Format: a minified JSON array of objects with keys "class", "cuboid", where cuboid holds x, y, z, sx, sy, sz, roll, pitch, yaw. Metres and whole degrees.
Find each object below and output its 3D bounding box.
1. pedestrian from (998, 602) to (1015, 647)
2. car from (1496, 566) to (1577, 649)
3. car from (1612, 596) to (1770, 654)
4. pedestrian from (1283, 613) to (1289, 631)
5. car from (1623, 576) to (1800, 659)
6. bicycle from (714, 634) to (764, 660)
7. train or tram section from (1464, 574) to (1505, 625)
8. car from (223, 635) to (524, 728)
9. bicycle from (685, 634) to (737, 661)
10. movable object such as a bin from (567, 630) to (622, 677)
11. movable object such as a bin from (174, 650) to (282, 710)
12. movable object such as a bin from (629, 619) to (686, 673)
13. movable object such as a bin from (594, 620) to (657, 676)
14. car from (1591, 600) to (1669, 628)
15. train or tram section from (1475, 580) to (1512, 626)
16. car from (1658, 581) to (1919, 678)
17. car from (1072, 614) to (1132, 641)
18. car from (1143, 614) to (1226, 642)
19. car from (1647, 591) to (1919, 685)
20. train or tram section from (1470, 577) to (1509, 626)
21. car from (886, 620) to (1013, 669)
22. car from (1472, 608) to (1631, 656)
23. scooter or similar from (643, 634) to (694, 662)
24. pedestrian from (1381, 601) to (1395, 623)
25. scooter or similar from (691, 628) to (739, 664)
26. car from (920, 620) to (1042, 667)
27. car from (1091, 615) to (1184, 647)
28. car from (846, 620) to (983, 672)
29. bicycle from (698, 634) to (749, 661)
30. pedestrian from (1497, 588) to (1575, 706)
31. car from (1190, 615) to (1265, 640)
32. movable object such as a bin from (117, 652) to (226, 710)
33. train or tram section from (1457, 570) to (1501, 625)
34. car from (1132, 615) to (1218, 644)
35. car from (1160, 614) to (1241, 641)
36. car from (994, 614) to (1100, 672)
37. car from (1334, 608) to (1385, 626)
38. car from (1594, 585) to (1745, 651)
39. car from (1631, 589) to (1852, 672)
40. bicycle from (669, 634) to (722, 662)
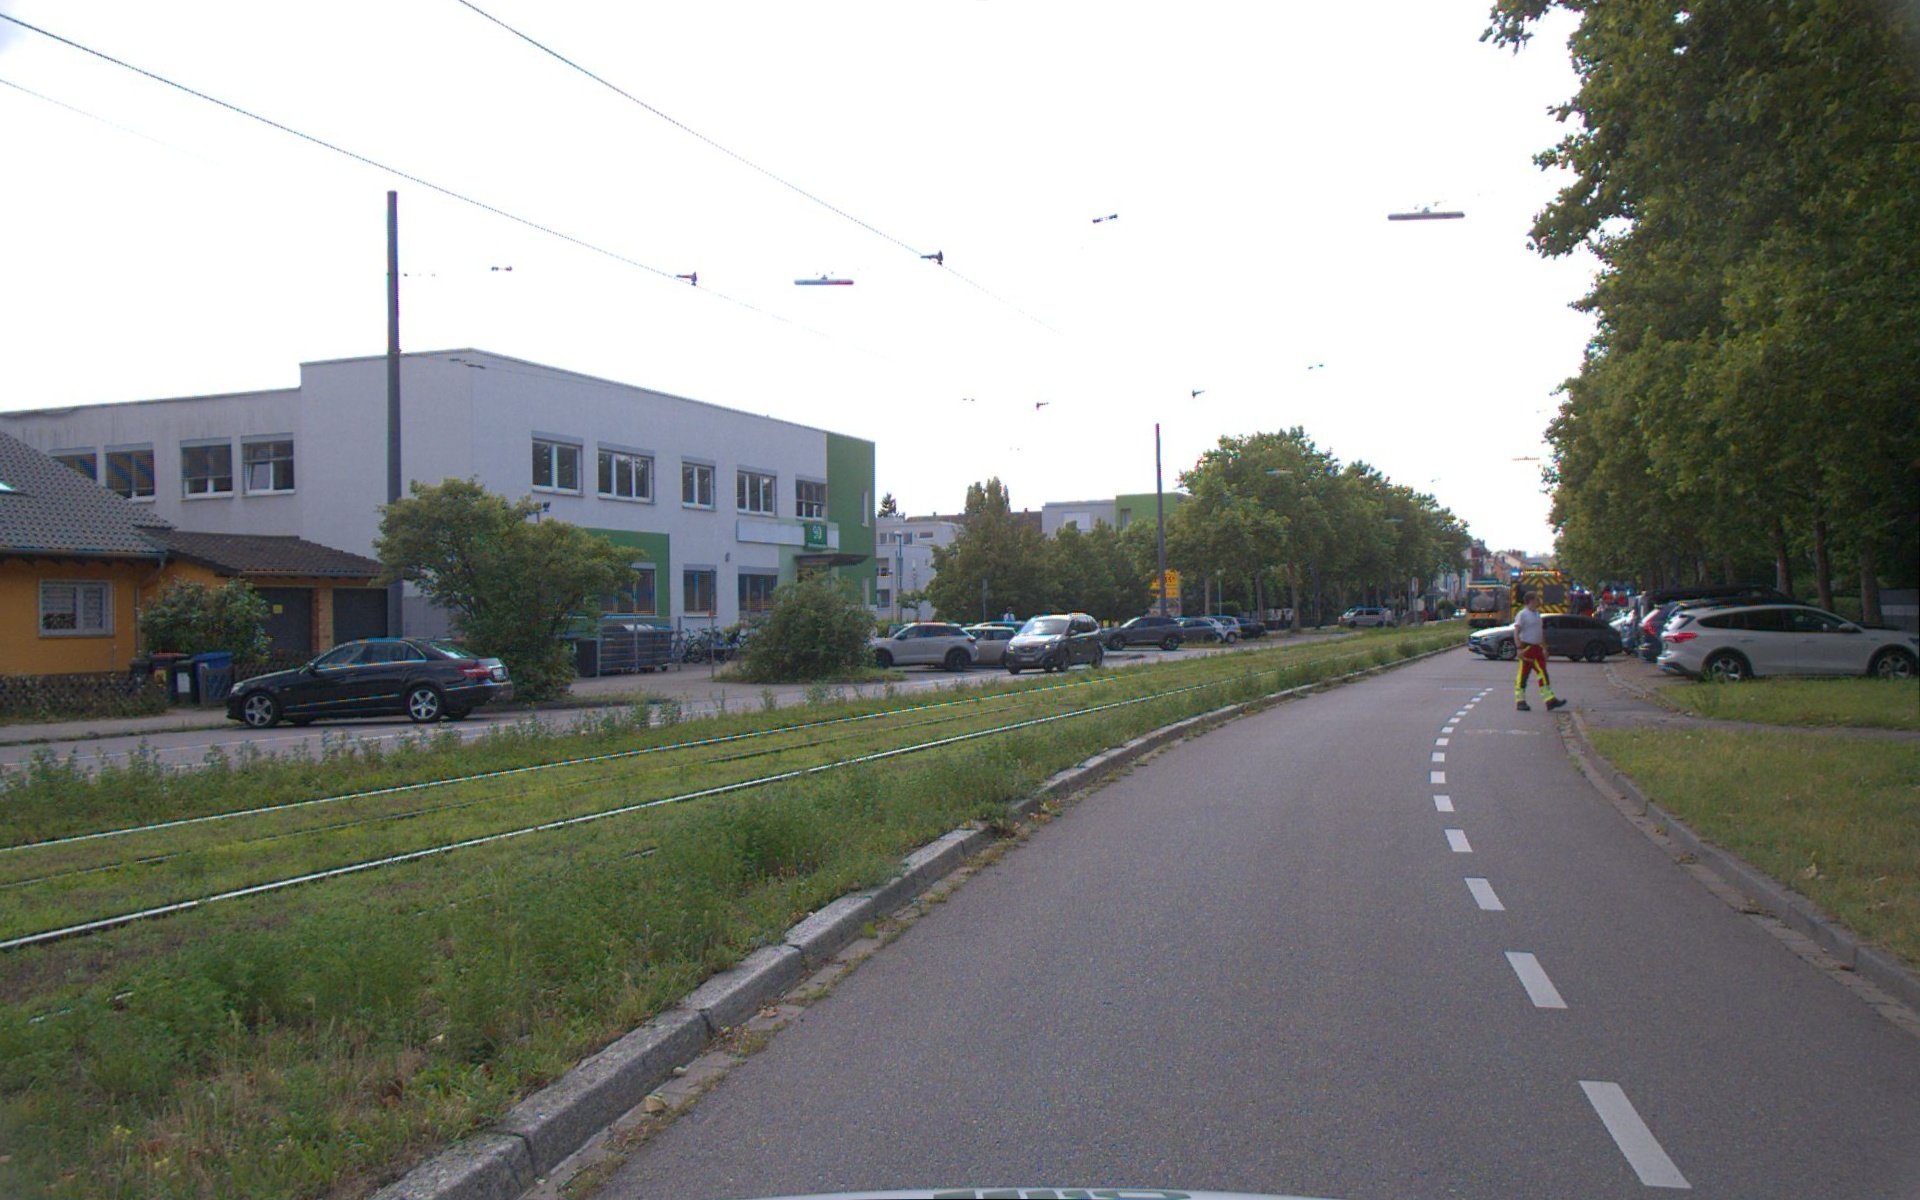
[{"class":"pedestrian","cuboid":[1.914,1.015,68.557,0.534,1.860,0.509,-2,-1,19]},{"class":"car","cuboid":[22.393,0.290,64.079,2.588,3.018,6.298,2,0,22]},{"class":"car","cuboid":[23.662,0.823,53.714,4.450,1.689,1.857,-2,-1,17]},{"class":"pedestrian","cuboid":[27.256,1.874,138.314,0.412,1.499,0.468,-2,-1,16]},{"class":"car","cuboid":[21.548,0.522,47.627,4.452,2.161,1.856,-3,-1,21]},{"class":"bicycle","cuboid":[-8.032,1.700,60.098,1.820,0.915,0.458,0,-1,22]},{"class":"train or tram section","cuboid":[39.947,0.020,125.890,2.460,3.647,7.445,-3,-2,20]},{"class":"car","cuboid":[-10.128,1.405,28.779,4.540,1.432,1.883,-2,-2,1]},{"class":"bicycle","cuboid":[-8.782,1.676,58.290,1.820,0.915,0.458,0,-1,22]},{"class":"movable object such as a bin","cuboid":[-10.333,1.499,46.809,0.985,1.255,1.256,0,1,23]},{"class":"movable object such as a bin","cuboid":[-14.862,1.616,33.618,1.228,1.120,1.618,-2,-1,20]},{"class":"movable object such as a bin","cuboid":[-9.098,1.361,49.798,0.985,1.546,1.604,0,1,23]},{"class":"movable object such as a bin","cuboid":[-9.742,1.387,48.228,0.985,1.546,1.711,0,1,23]},{"class":"car","cuboid":[42.781,0.908,105.679,4.450,1.637,1.857,-2,-1,17]},{"class":"train or tram section","cuboid":[45.130,0.301,139.780,2.460,3.647,7.445,-3,-2,20]},{"class":"car","cuboid":[15.988,0.564,31.742,4.560,1.654,1.849,-2,-1,18]},{"class":"car","cuboid":[9.791,1.893,114.186,1.979,1.780,3.947,1,0,-37]},{"class":"car","cuboid":[12.350,1.552,90.992,4.150,1.508,1.876,0,-1,-15]},{"class":"car","cuboid":[14.936,0.680,29.747,4.560,1.499,1.849,-2,-1,18]},{"class":"train or tram section","cuboid":[42.547,0.161,132.866,2.460,3.647,7.445,-3,-2,20]},{"class":"car","cuboid":[-0.383,1.512,56.679,4.142,1.508,1.880,-2,-1,-8]},{"class":"car","cuboid":[18.292,0.968,51.294,4.358,1.410,1.768,1,0,6]},{"class":"scooter or similar","cuboid":[-9.826,1.626,55.832,1.700,0.915,0.458,0,-1,22]},{"class":"pedestrian","cuboid":[30.327,0.876,117.168,0.862,1.552,0.751,0,-1,21]},{"class":"scooter or similar","cuboid":[-8.192,1.531,55.388,1.084,1.176,1.288,2,-1,-40]},{"class":"car","cuboid":[0.719,1.548,59.491,4.142,1.508,1.880,-2,-1,-8]},{"class":"car","cuboid":[8.421,1.479,78.539,4.137,1.508,1.882,0,-1,-4]},{"class":"car","cuboid":[-1.503,1.479,53.904,4.149,1.508,1.877,-2,-1,-13]},{"class":"bicycle","cuboid":[-8.452,1.693,59.128,1.820,0.915,0.458,0,-1,22]},{"class":"pedestrian","cuboid":[8.595,0.687,24.664,0.836,1.716,0.801,-1,-1,43]},{"class":"car","cuboid":[16.398,1.661,101.484,4.156,1.508,1.873,0,-1,-19]},{"class":"movable object such as a bin","cuboid":[-16.224,1.660,34.072,1.228,1.111,1.618,-2,-1,20]},{"class":"train or tram section","cuboid":[37.360,-0.121,118.923,2.460,3.647,7.445,-3,-2,20]},{"class":"car","cuboid":[11.460,1.564,88.239,4.150,1.508,1.876,0,-1,-15]},{"class":"car","cuboid":[13.642,1.575,93.751,4.150,1.508,1.876,0,-1,-15]},{"class":"car","cuboid":[2.670,1.258,49.943,1.952,1.585,4.371,-3,-1,20]},{"class":"car","cuboid":[39.061,1.674,161.921,4.541,1.661,1.874,-1,-1,-18]},{"class":"car","cuboid":[24.074,0.614,56.282,4.450,2.036,1.857,-2,-1,17]},{"class":"car","cuboid":[17.257,0.684,36.746,4.292,1.668,1.755,-3,-1,23]},{"class":"bicycle","cuboid":[-9.166,1.654,57.211,1.820,0.915,0.458,0,-1,22]}]
